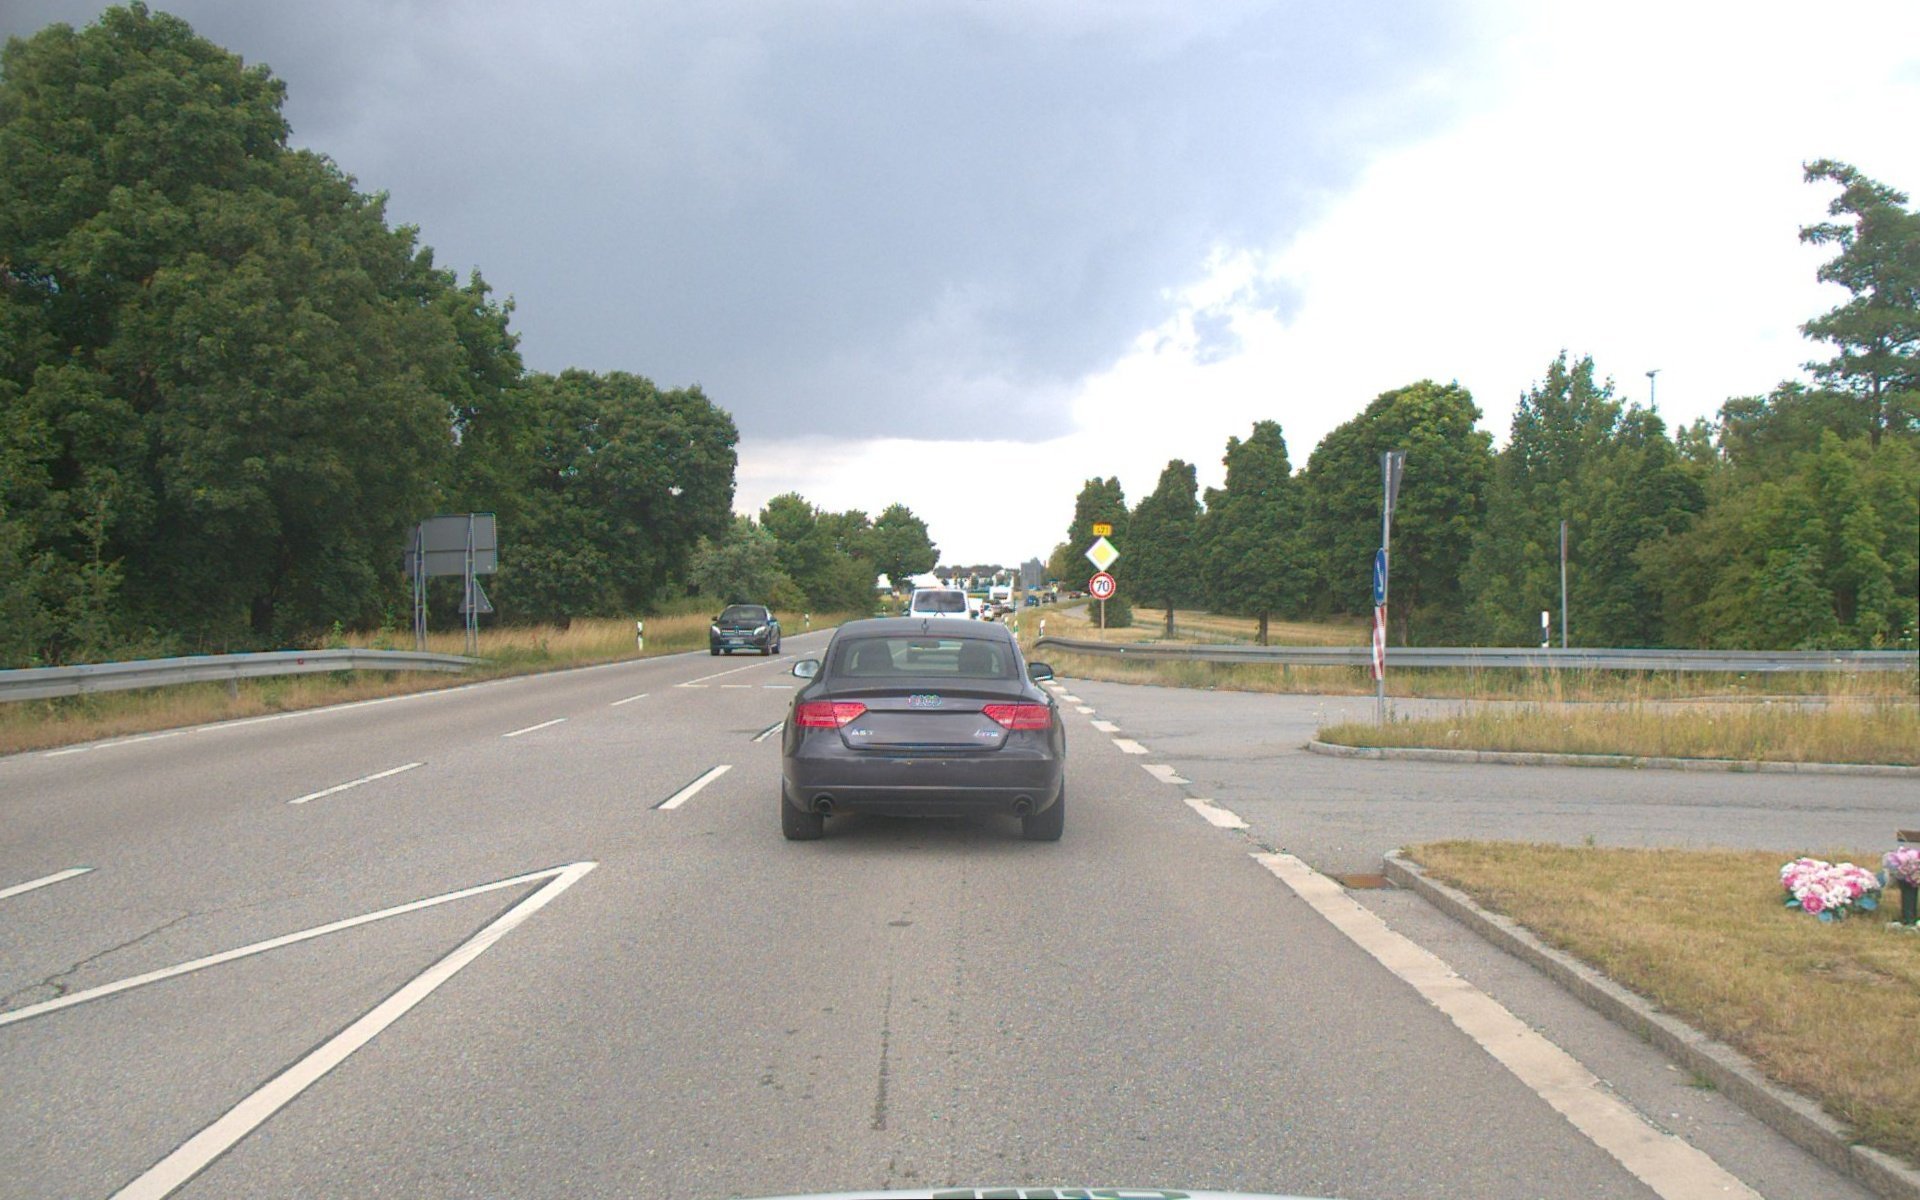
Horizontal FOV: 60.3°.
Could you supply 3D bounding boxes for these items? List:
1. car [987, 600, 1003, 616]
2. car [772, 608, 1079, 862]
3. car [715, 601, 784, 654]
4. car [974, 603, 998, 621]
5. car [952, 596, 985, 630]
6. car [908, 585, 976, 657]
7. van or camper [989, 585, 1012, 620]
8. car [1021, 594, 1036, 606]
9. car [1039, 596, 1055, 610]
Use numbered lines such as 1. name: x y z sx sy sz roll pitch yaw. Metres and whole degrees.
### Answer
1. car: 3.238 0.728 152.295 1.231 1.377 3.468 0 0 5
2. car: -0.226 0.787 11.493 1.746 1.400 3.999 1 0 -1
3. car: -6.468 0.821 51.125 1.676 1.549 3.999 0 0 -1
4. car: 2.181 0.990 137.205 1.699 1.541 3.749 0 0 5
5. car: 0.550 0.823 105.354 1.952 2.125 4.001 0 0 2
6. car: -0.503 0.553 46.408 1.801 1.915 3.999 1 0 -1
7. van or camper: 4.159 0.245 170.715 2.292 3.542 5.719 0 0 1
8. car: 8.729 -0.040 211.070 1.683 1.477 4.000 1 0 0
9. car: 12.444 0.416 237.316 1.953 2.049 3.999 0 0 -1
